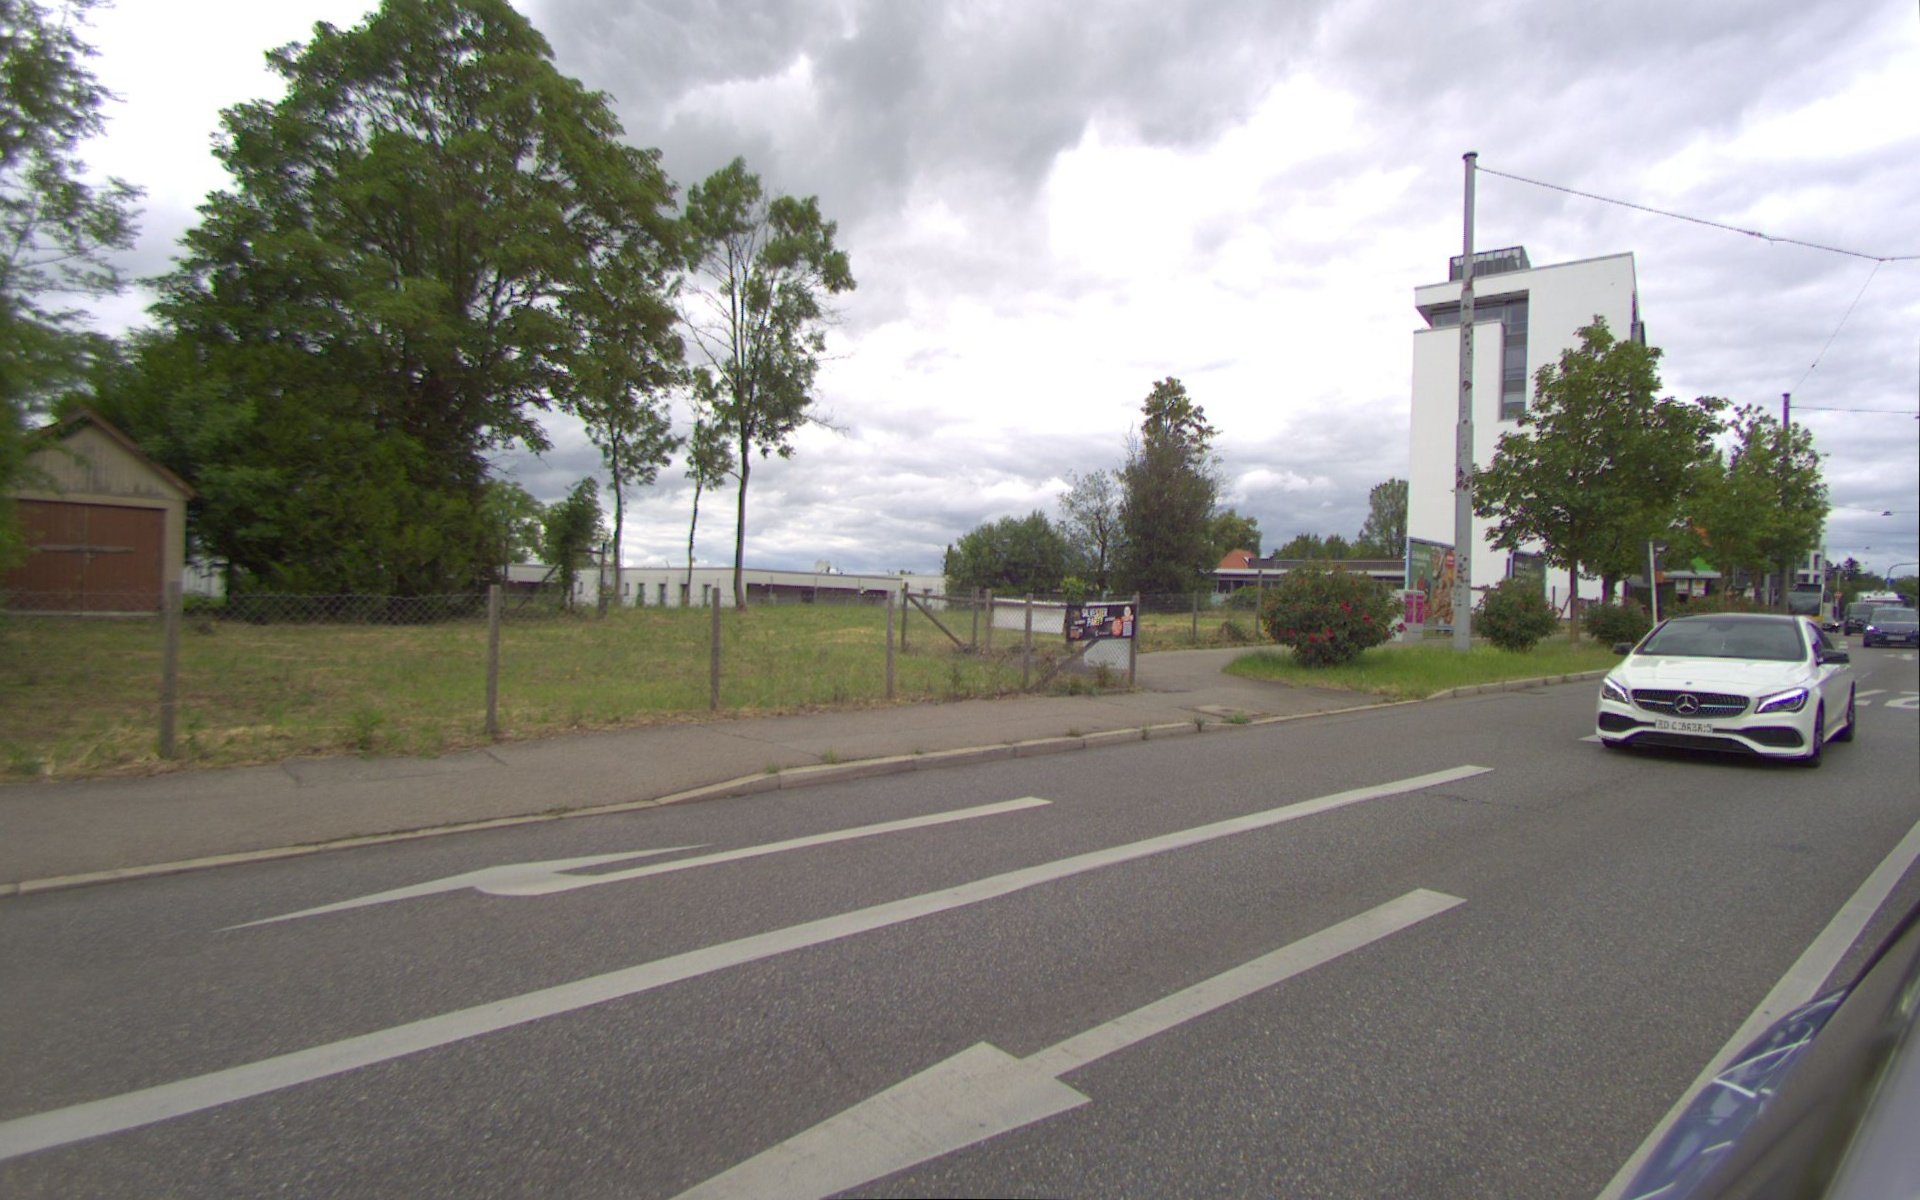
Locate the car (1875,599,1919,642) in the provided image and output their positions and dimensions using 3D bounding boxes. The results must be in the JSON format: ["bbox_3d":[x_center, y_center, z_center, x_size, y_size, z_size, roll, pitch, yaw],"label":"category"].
[{"bbox_3d":[35.215,0.747,37.492,4.297,1.501,1.732,1,0,-45],"label":"car"}]

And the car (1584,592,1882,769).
[{"bbox_3d":[8.577,0.689,11.049,4.693,1.524,1.869,0,0,-43],"label":"car"}]

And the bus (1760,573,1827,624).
[{"bbox_3d":[58.296,-0.075,70.975,3.028,3.276,9.214,2,0,36],"label":"bus"}]

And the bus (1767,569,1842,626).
[{"bbox_3d":[52.771,-0.159,63.416,2.975,3.282,9.734,1,0,37],"label":"bus"}]

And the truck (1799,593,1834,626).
[{"bbox_3d":[112.630,1.335,133.205,2.934,4.007,9.035,4,1,38],"label":"truck"}]
